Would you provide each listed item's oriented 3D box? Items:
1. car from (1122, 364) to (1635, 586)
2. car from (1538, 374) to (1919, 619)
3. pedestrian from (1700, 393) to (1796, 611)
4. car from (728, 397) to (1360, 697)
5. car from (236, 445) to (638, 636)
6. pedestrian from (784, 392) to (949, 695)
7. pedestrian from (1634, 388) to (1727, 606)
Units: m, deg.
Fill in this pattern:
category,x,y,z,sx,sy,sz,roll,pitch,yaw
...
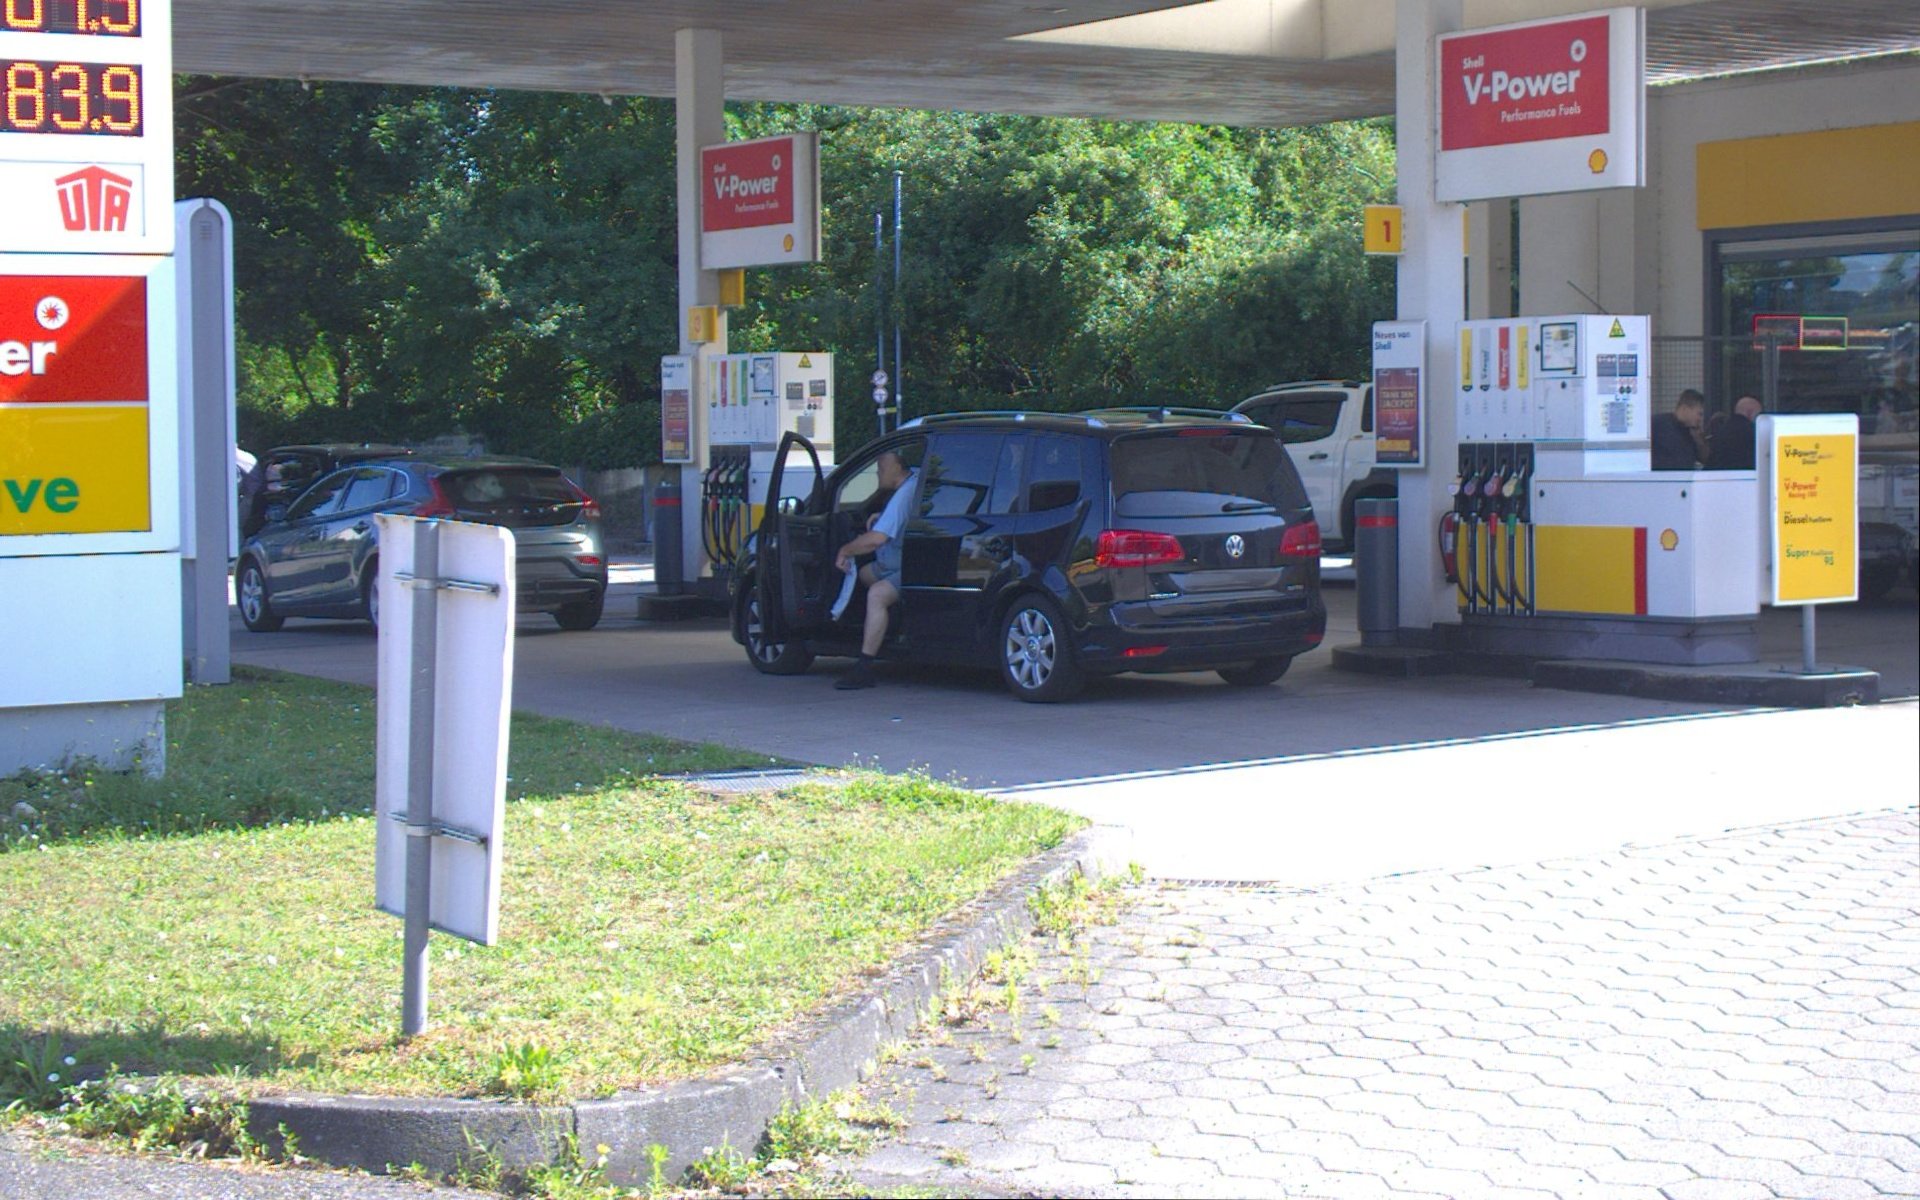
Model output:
category,x,y,z,sx,sy,sz,roll,pitch,yaw
car,3.651,-1.148,30.839,1.851,1.831,4.780,-3,3,-35
car,6.442,-0.817,26.368,1.827,1.722,4.001,-2,3,-29
pedestrian,5.809,-0.731,25.357,0.499,1.587,0.476,-2,3,-30
car,0.399,-0.376,20.261,1.760,1.573,3.877,-3,3,-35
car,-4.172,-0.520,26.982,1.798,1.356,3.848,-2,3,-30
pedestrian,-0.551,-0.346,20.082,0.672,1.723,0.812,-2,3,-26
pedestrian,5.465,-0.788,26.088,0.499,1.626,0.476,-2,3,-30
